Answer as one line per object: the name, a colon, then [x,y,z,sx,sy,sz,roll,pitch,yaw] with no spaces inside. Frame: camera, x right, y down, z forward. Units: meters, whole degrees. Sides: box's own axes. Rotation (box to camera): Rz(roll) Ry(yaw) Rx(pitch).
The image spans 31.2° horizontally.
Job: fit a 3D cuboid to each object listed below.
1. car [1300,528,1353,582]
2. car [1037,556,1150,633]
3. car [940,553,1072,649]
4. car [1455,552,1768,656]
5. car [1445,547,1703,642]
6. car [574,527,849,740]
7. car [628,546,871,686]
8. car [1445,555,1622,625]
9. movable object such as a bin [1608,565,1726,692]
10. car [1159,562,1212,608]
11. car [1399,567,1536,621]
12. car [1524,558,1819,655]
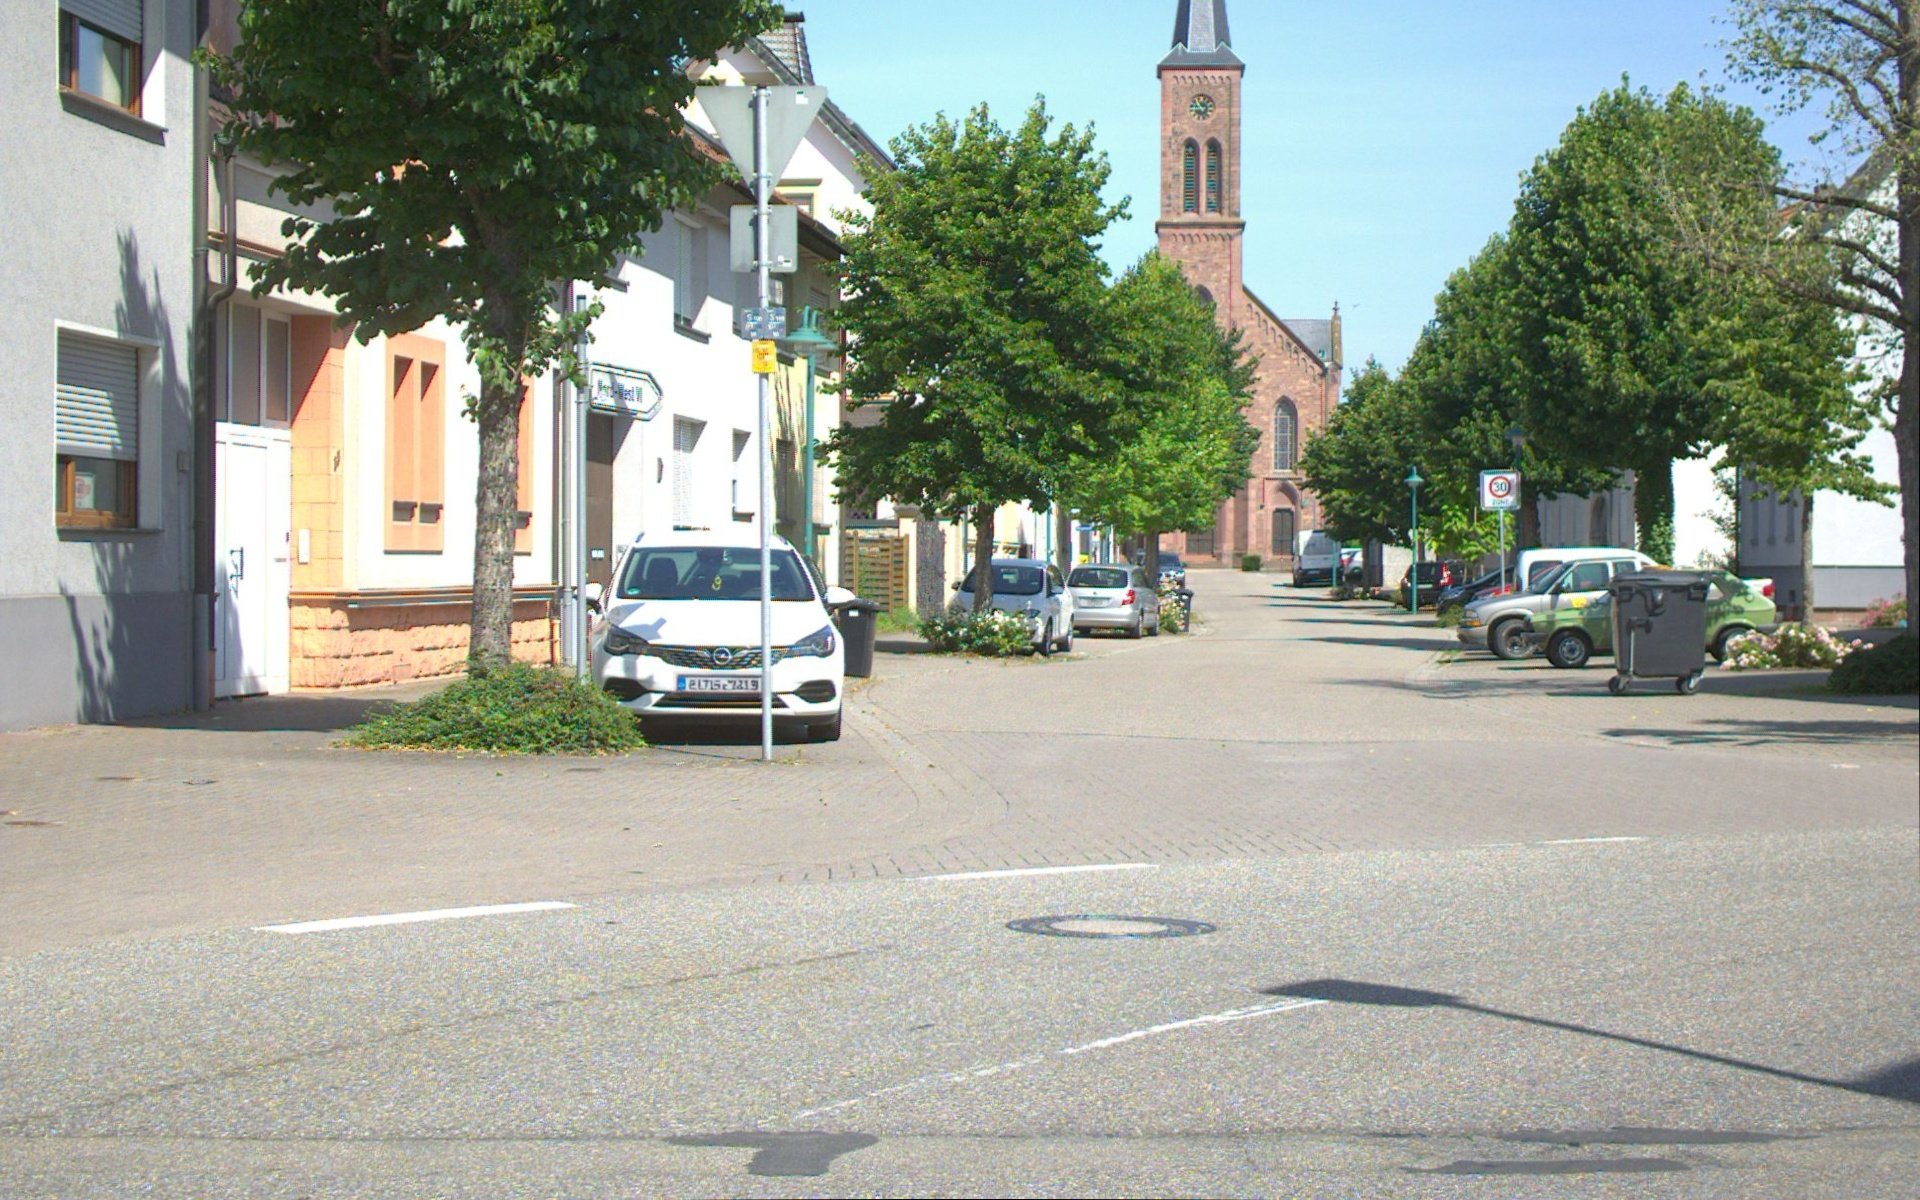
car: [16.458,-2.011,154.645,2.245,2.271,4.502,2,0,5]
car: [2.649,-0.132,68.868,1.993,1.459,4.000,1,1,-1]
car: [0.812,-0.014,57.998,1.994,1.568,4.000,0,1,4]
car: [10.486,0.044,55.641,4.804,1.618,2.000,0,1,5]
car: [10.405,-0.116,58.486,4.151,1.563,2.000,0,1,5]
car: [-1.918,0.191,25.499,1.849,1.435,4.514,0,1,-6]
car: [-2.253,0.118,38.211,1.984,1.435,5.210,0,1,5]
car: [13.507,-0.246,81.167,3.987,1.634,2.000,0,1,5]
movable object such as a bin: [7.503,0.294,36.516,1.188,1.333,0.789,0,1,9]
car: [9.119,-0.632,139.456,1.993,1.809,4.000,0,1,2]
car: [15.456,-0.195,104.909,3.987,1.612,2.000,0,1,4]
car: [10.131,0.078,49.193,3.925,1.340,2.000,0,1,5]
